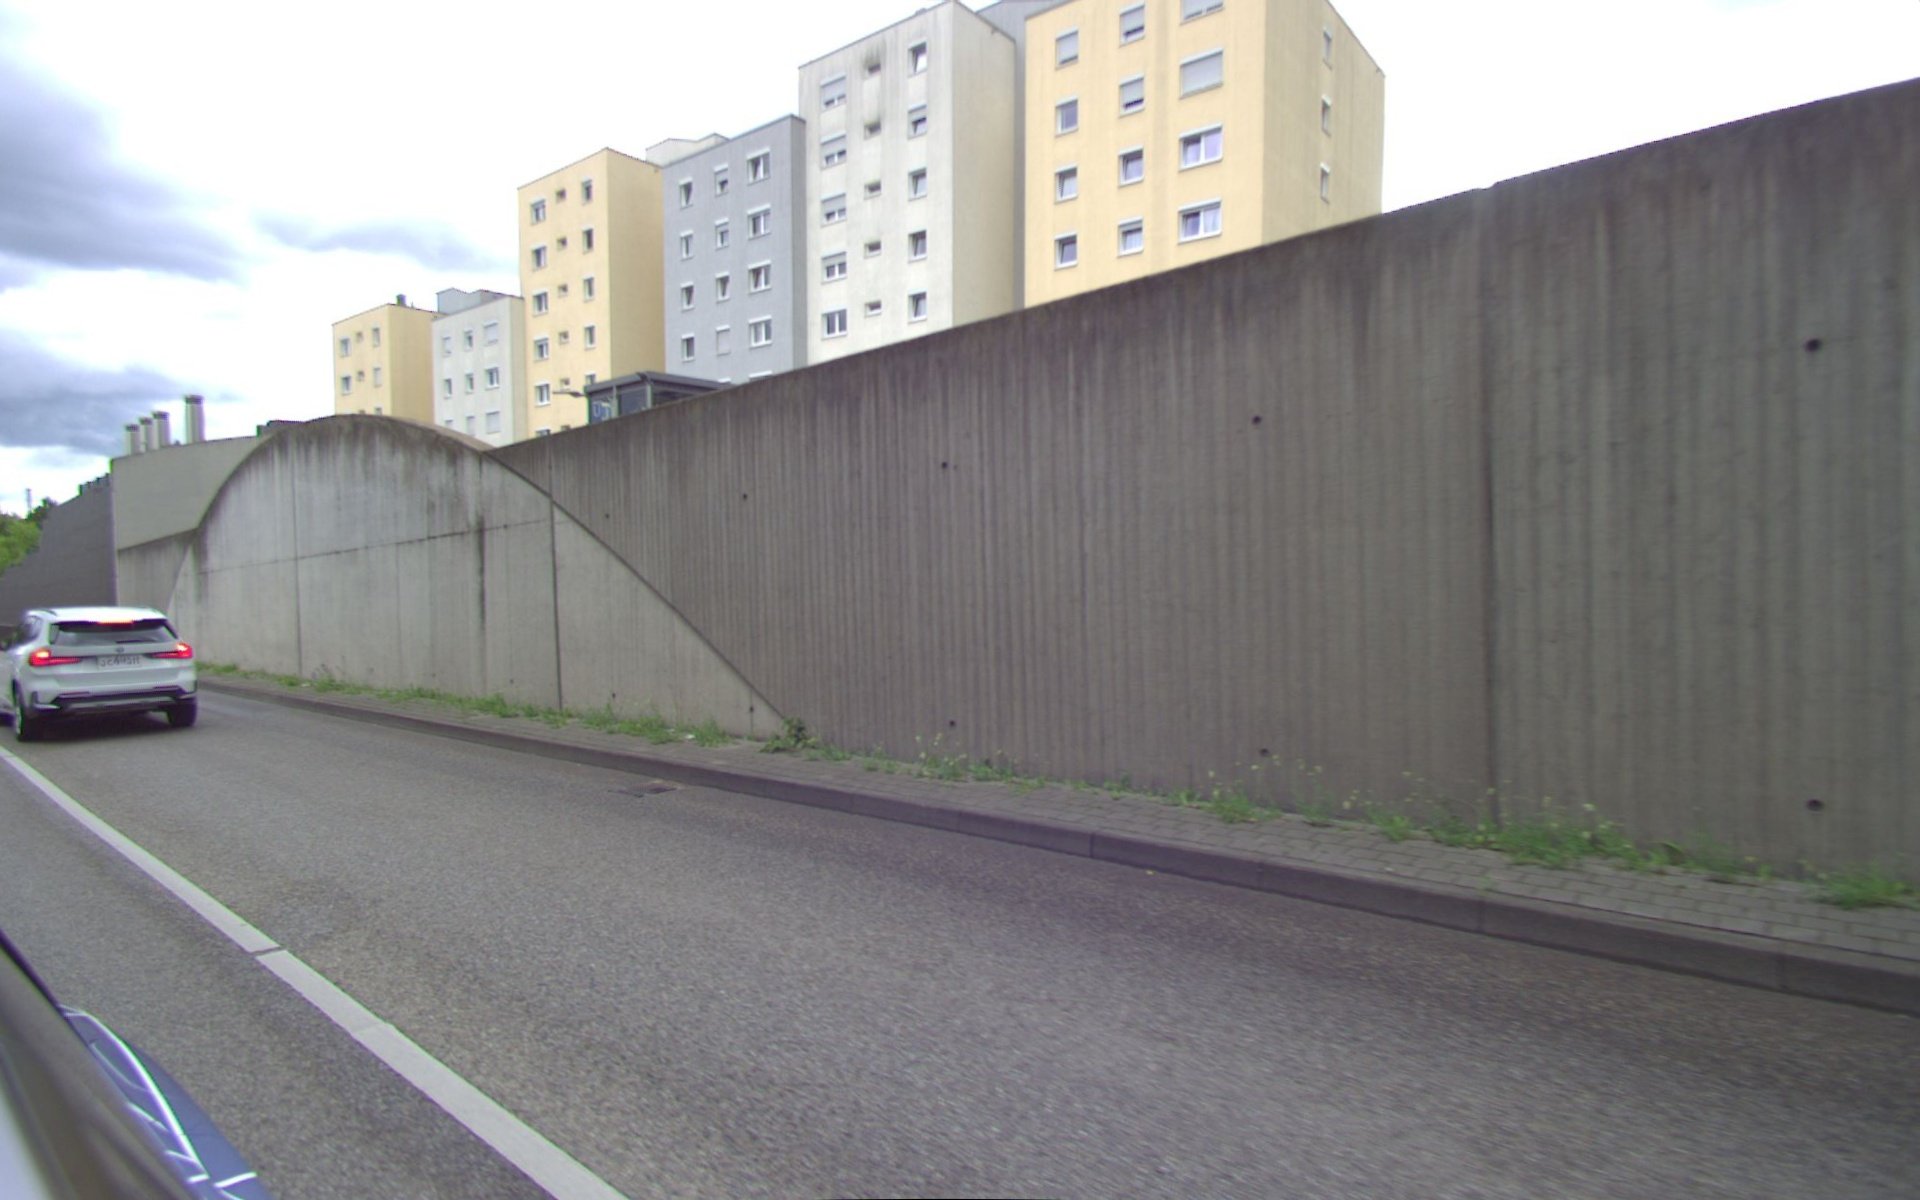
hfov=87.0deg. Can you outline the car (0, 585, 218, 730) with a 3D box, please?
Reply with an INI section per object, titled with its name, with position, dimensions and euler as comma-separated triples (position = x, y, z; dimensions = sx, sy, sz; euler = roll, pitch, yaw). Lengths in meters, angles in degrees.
[car]
position = -11.833, 0.653, 13.765
dimensions = 4.424, 1.644, 1.871
euler = 0, 1, 41
